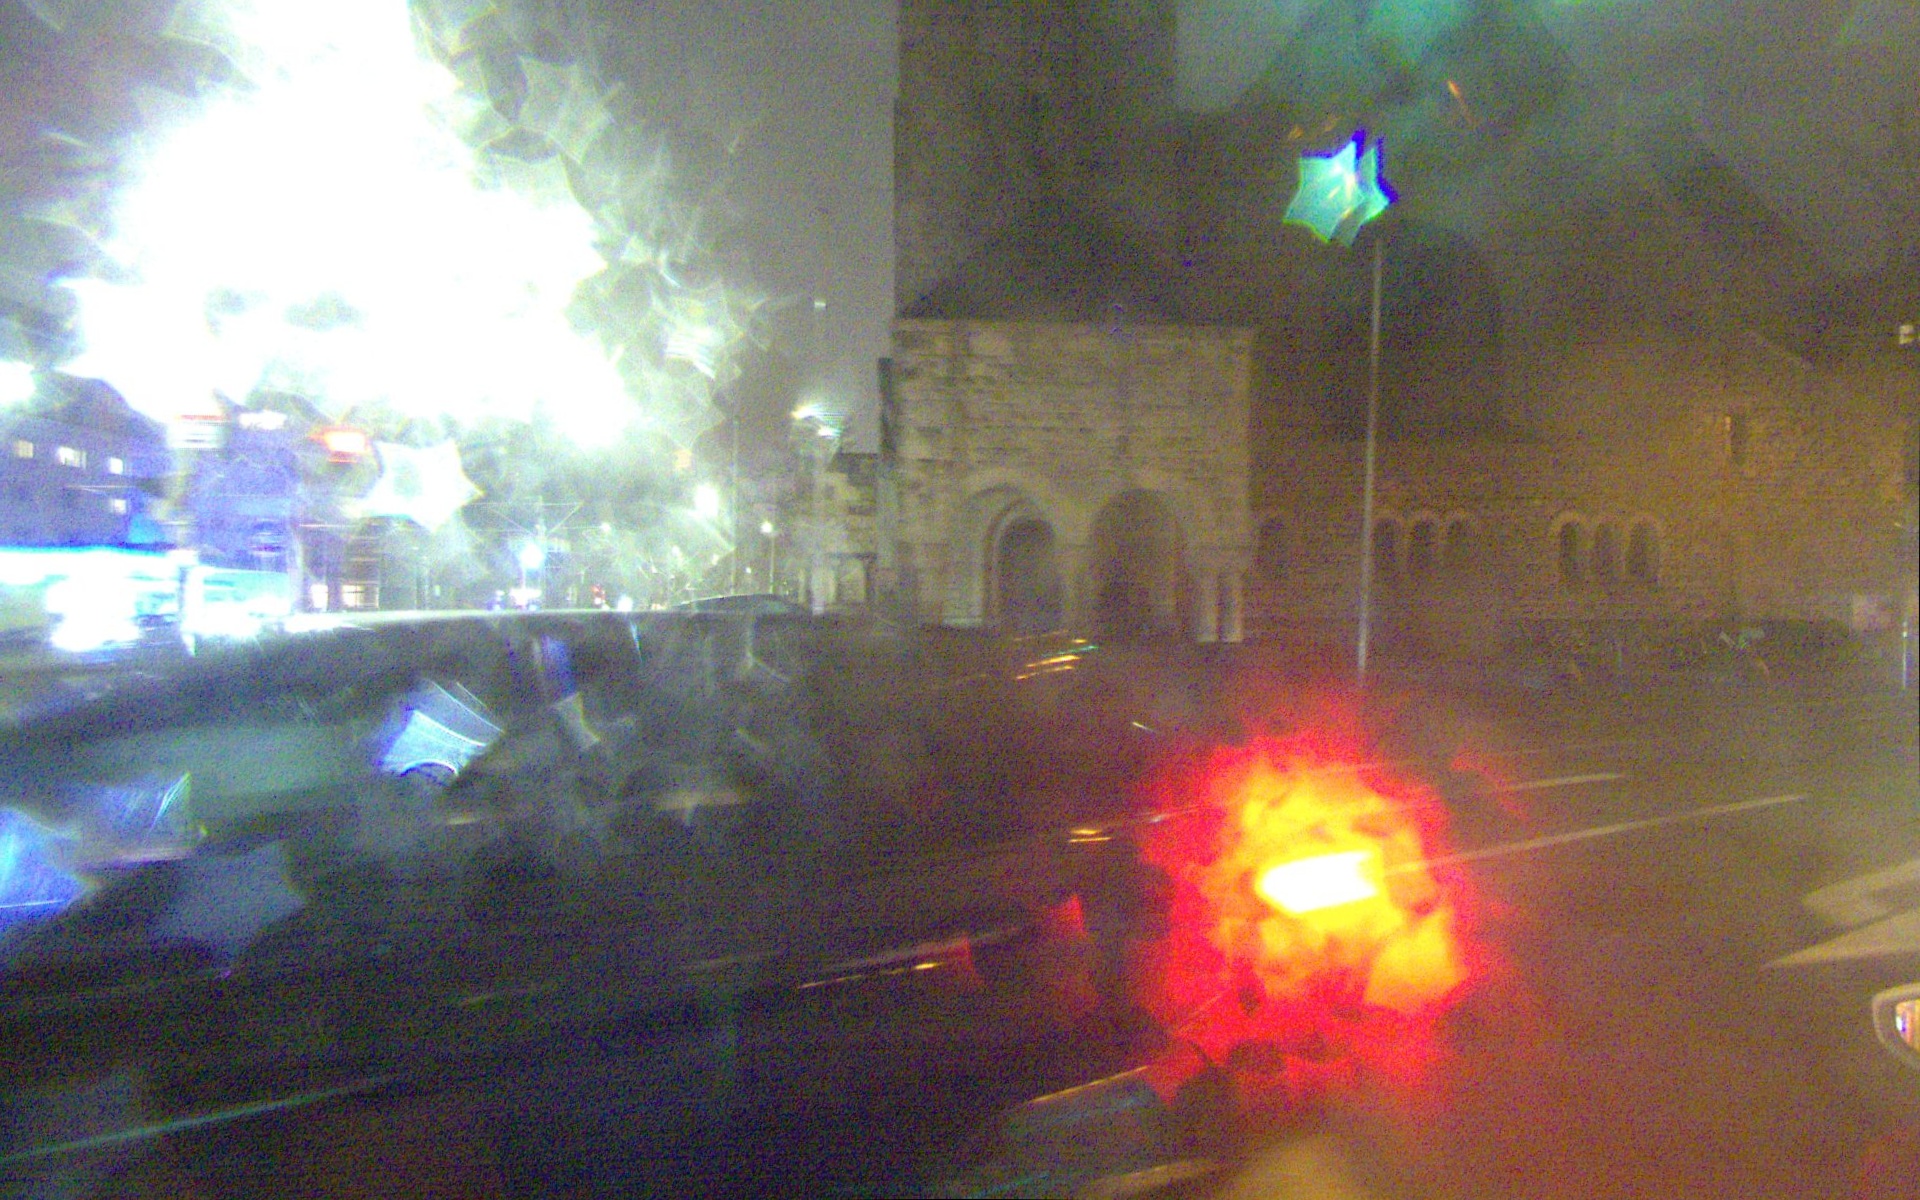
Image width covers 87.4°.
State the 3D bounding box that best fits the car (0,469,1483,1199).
[{"bbox_3d":[-1.242,0.656,2.012,4.796,1.574,1.779,1,-1,-30],"label":"car"}]

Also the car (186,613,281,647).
[{"bbox_3d":[-39.261,1.614,54.465,1.861,1.766,4.738,0,-1,-2],"label":"car"}]

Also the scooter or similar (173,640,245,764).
[{"bbox_3d":[-8.123,1.075,10.849,1.061,1.256,0.285,0,0,34],"label":"scooter or similar"}]

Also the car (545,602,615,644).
[{"bbox_3d":[-17.117,1.018,45.425,1.862,1.804,4.330,0,-1,-5],"label":"car"}]

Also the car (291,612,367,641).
[{"bbox_3d":[-39.277,1.646,62.676,1.861,1.766,4.738,0,-1,-2],"label":"car"}]

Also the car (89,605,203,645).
[{"bbox_3d":[-38.374,1.171,47.539,1.862,1.766,4.736,0,-1,-5],"label":"car"}]

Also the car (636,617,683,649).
[{"bbox_3d":[-17.842,1.938,59.745,1.862,1.804,4.330,0,-1,-5],"label":"car"}]

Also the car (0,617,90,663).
[{"bbox_3d":[-38.339,1.598,40.888,1.861,1.766,4.738,0,-1,-2],"label":"car"}]

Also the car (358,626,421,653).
[{"bbox_3d":[-39.708,2.718,70.012,1.861,1.766,4.738,0,-1,-2],"label":"car"}]

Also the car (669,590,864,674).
[{"bbox_3d":[-4.306,0.696,22.814,4.112,1.723,1.702,-1,0,-4],"label":"car"}]
